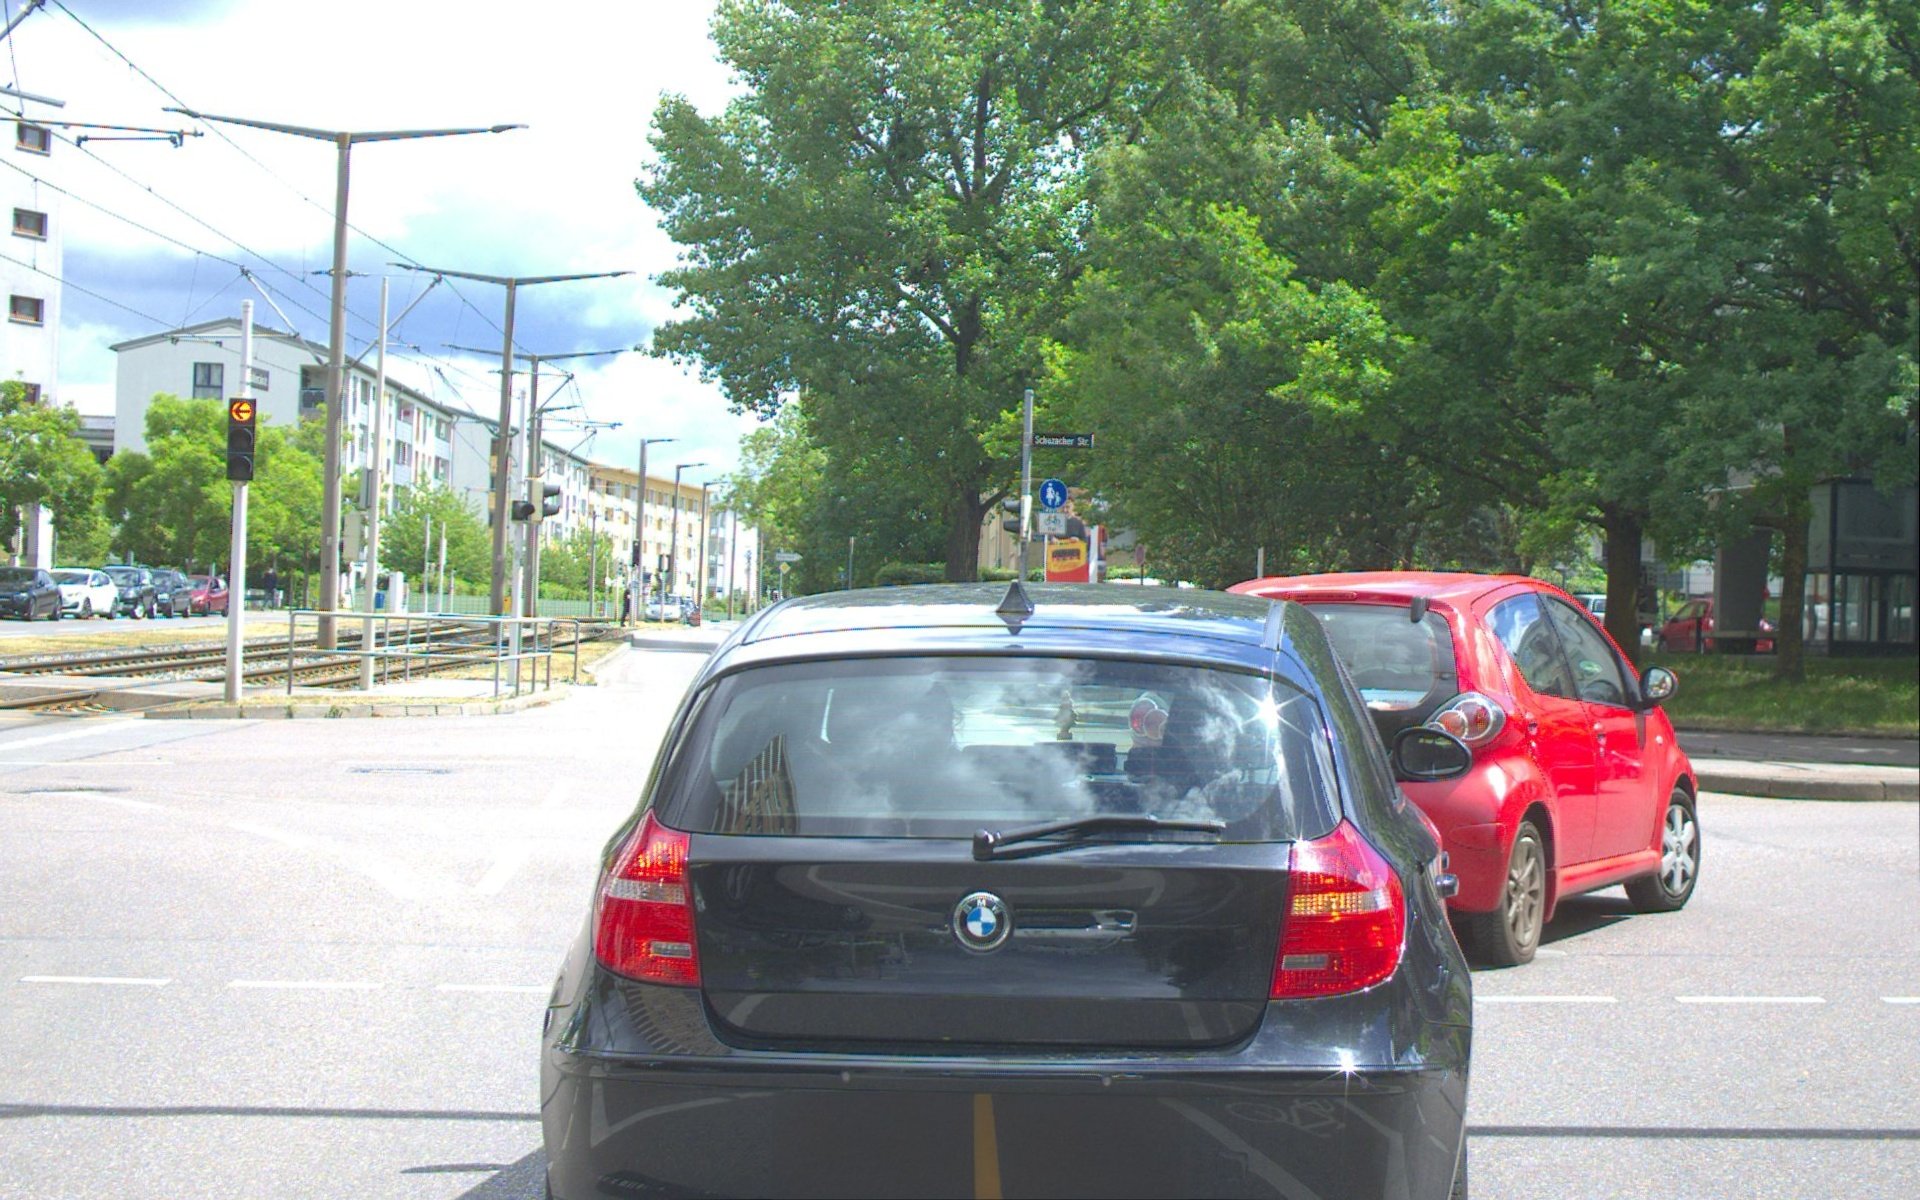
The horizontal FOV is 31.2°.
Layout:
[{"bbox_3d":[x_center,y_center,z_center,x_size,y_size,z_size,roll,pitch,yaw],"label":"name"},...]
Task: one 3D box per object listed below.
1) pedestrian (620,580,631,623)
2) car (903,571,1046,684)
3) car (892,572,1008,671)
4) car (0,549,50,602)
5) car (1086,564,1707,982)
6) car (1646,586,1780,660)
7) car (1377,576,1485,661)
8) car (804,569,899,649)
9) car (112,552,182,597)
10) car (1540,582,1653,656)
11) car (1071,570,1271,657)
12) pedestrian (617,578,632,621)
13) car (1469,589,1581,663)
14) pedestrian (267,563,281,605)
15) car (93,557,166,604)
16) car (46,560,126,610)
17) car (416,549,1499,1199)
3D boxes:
[{"bbox_3d":[-12.855,0.062,132.065,0.333,1.622,0.358,1,1,-18],"label":"pedestrian"},{"bbox_3d":[0.206,0.427,54.229,2.152,1.678,4.000,1,0,0],"label":"car"},{"bbox_3d":[-0.181,0.380,61.678,1.993,1.678,4.000,1,0,0],"label":"car"},{"bbox_3d":[-25.961,-0.694,93.593,1.760,1.390,4.001,1,1,-7],"label":"car"},{"bbox_3d":[1.860,0.596,13.867,1.544,1.436,3.191,2,1,25],"label":"car"},{"bbox_3d":[17.341,0.514,79.382,1.730,1.589,4.001,1,1,-8],"label":"car"},{"bbox_3d":[10.534,0.393,77.117,1.630,1.804,4.033,1,1,-3],"label":"car"},{"bbox_3d":[-2.395,0.177,76.974,1.993,1.678,4.000,1,1,0],"label":"car"},{"bbox_3d":[-26.516,-0.839,112.171,1.760,1.390,4.001,1,1,-7],"label":"car"},{"bbox_3d":[14.597,0.417,79.013,1.630,1.589,4.001,1,1,-3],"label":"car"},{"bbox_3d":[4.638,0.293,75.735,3.986,1.817,1.779,1,1,-22],"label":"car"},{"bbox_3d":[-12.881,-0.037,131.987,0.478,1.631,0.454,1,1,-1],"label":"pedestrian"},{"bbox_3d":[12.742,0.563,77.722,1.630,1.567,4.033,1,1,-3],"label":"car"},{"bbox_3d":[-26.857,-0.624,134.551,0.452,1.631,0.480,1,1,-3],"label":"pedestrian"},{"bbox_3d":[-25.980,-0.619,107.607,1.760,1.390,4.001,1,1,-7],"label":"car"},{"bbox_3d":[-25.670,-0.462,101.046,1.760,1.390,4.001,1,1,-7],"label":"car"},{"bbox_3d":[0.240,0.648,7.565,1.753,1.482,3.999,1,1,8],"label":"car"}]
